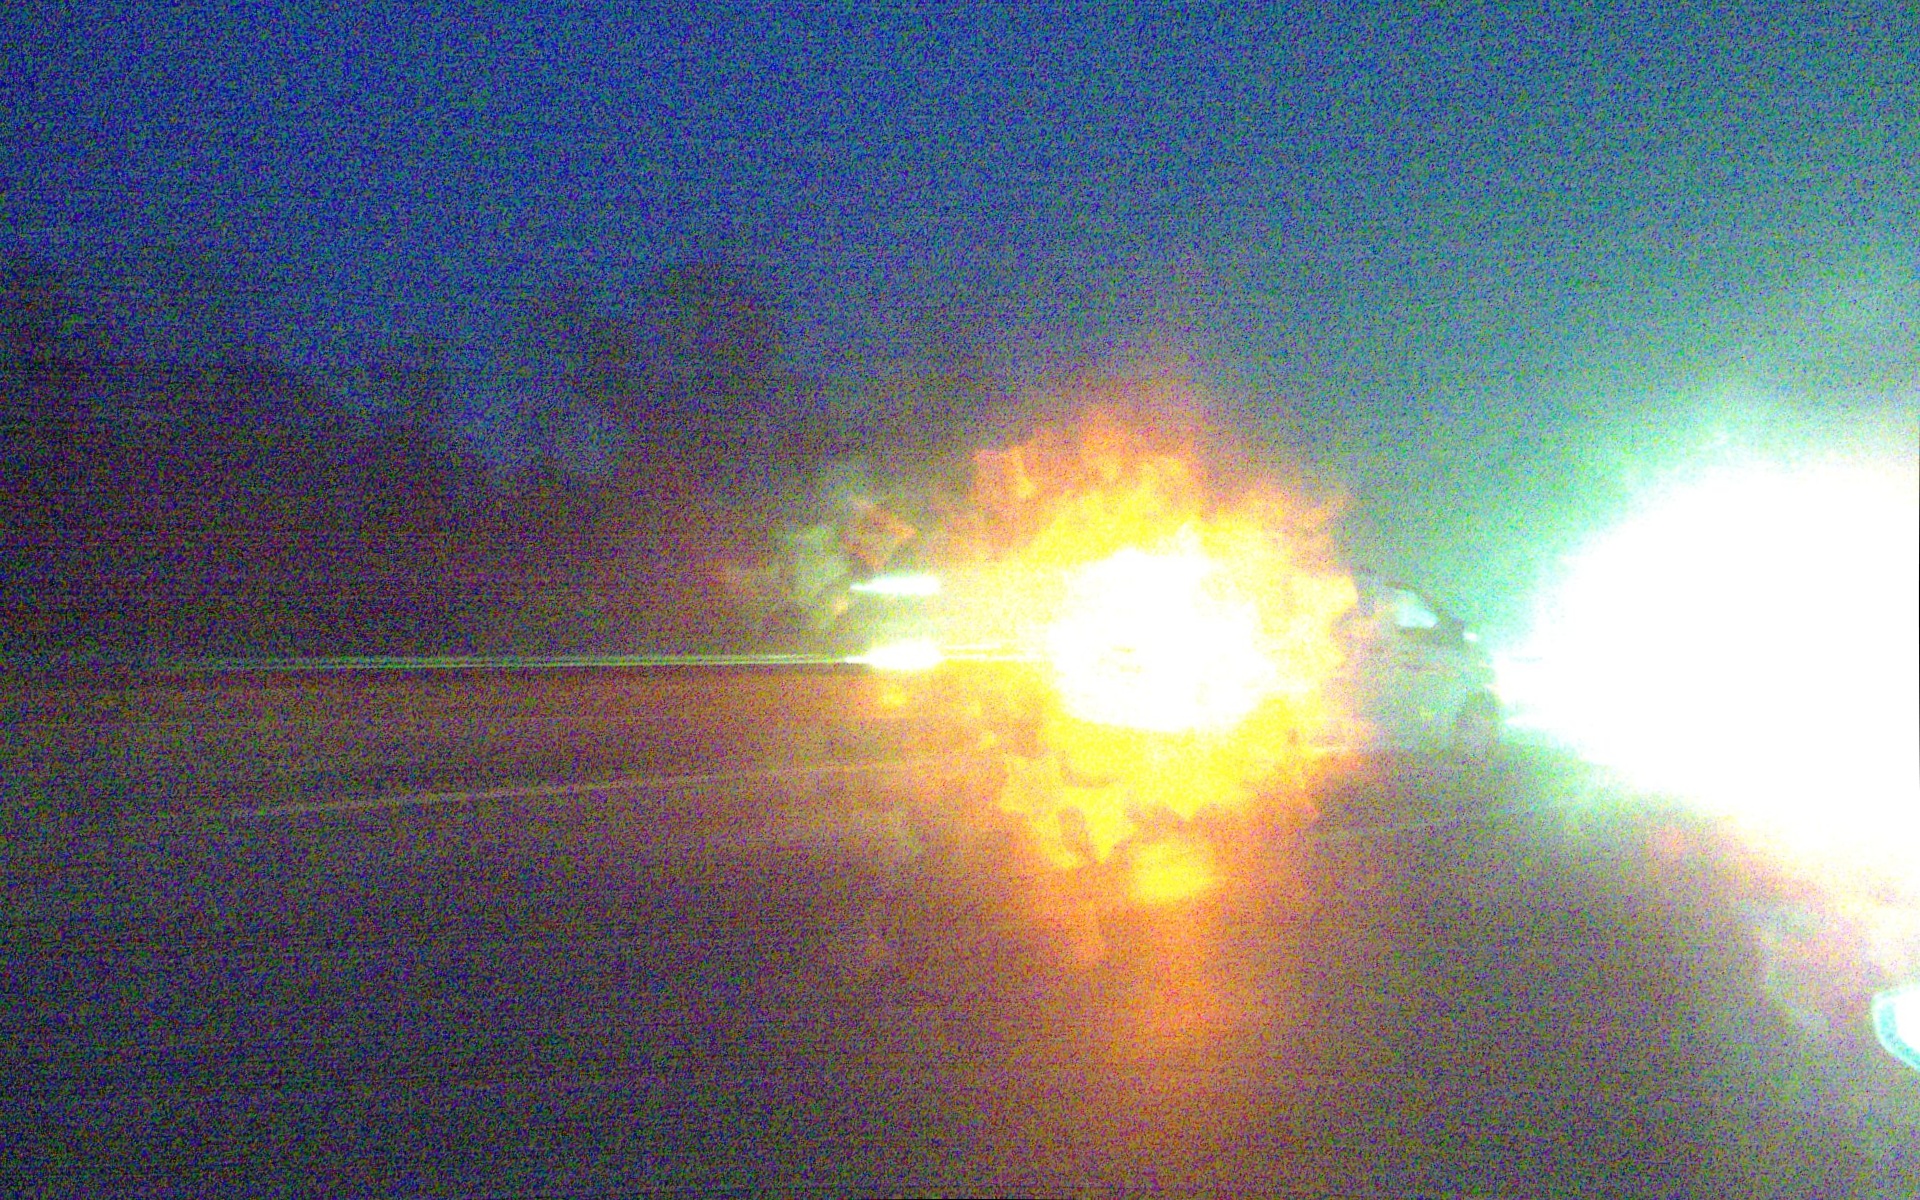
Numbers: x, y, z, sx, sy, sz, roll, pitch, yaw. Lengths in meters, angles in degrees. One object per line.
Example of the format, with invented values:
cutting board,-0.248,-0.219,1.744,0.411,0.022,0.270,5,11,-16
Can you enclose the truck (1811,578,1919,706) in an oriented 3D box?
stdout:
truck,19.161,0.821,19.277,5.798,2.230,2.840,2,-1,-34

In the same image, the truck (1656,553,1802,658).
truck,39.158,0.356,51.126,6.404,4.974,3.770,2,0,-31

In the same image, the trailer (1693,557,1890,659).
trailer,46.165,0.612,55.526,14.633,5.094,3.769,2,-1,-31

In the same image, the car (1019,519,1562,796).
car,3.482,0.504,10.119,5.566,2.132,2.112,1,-1,-32

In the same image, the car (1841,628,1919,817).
car,9.342,0.987,8.745,4.205,1.450,1.645,1,-1,-36

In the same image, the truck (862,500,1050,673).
truck,-0.126,-0.370,35.900,5.816,5.666,3.219,2,0,-33

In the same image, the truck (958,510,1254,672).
truck,6.131,-0.139,40.040,12.661,5.666,3.219,2,0,-34
